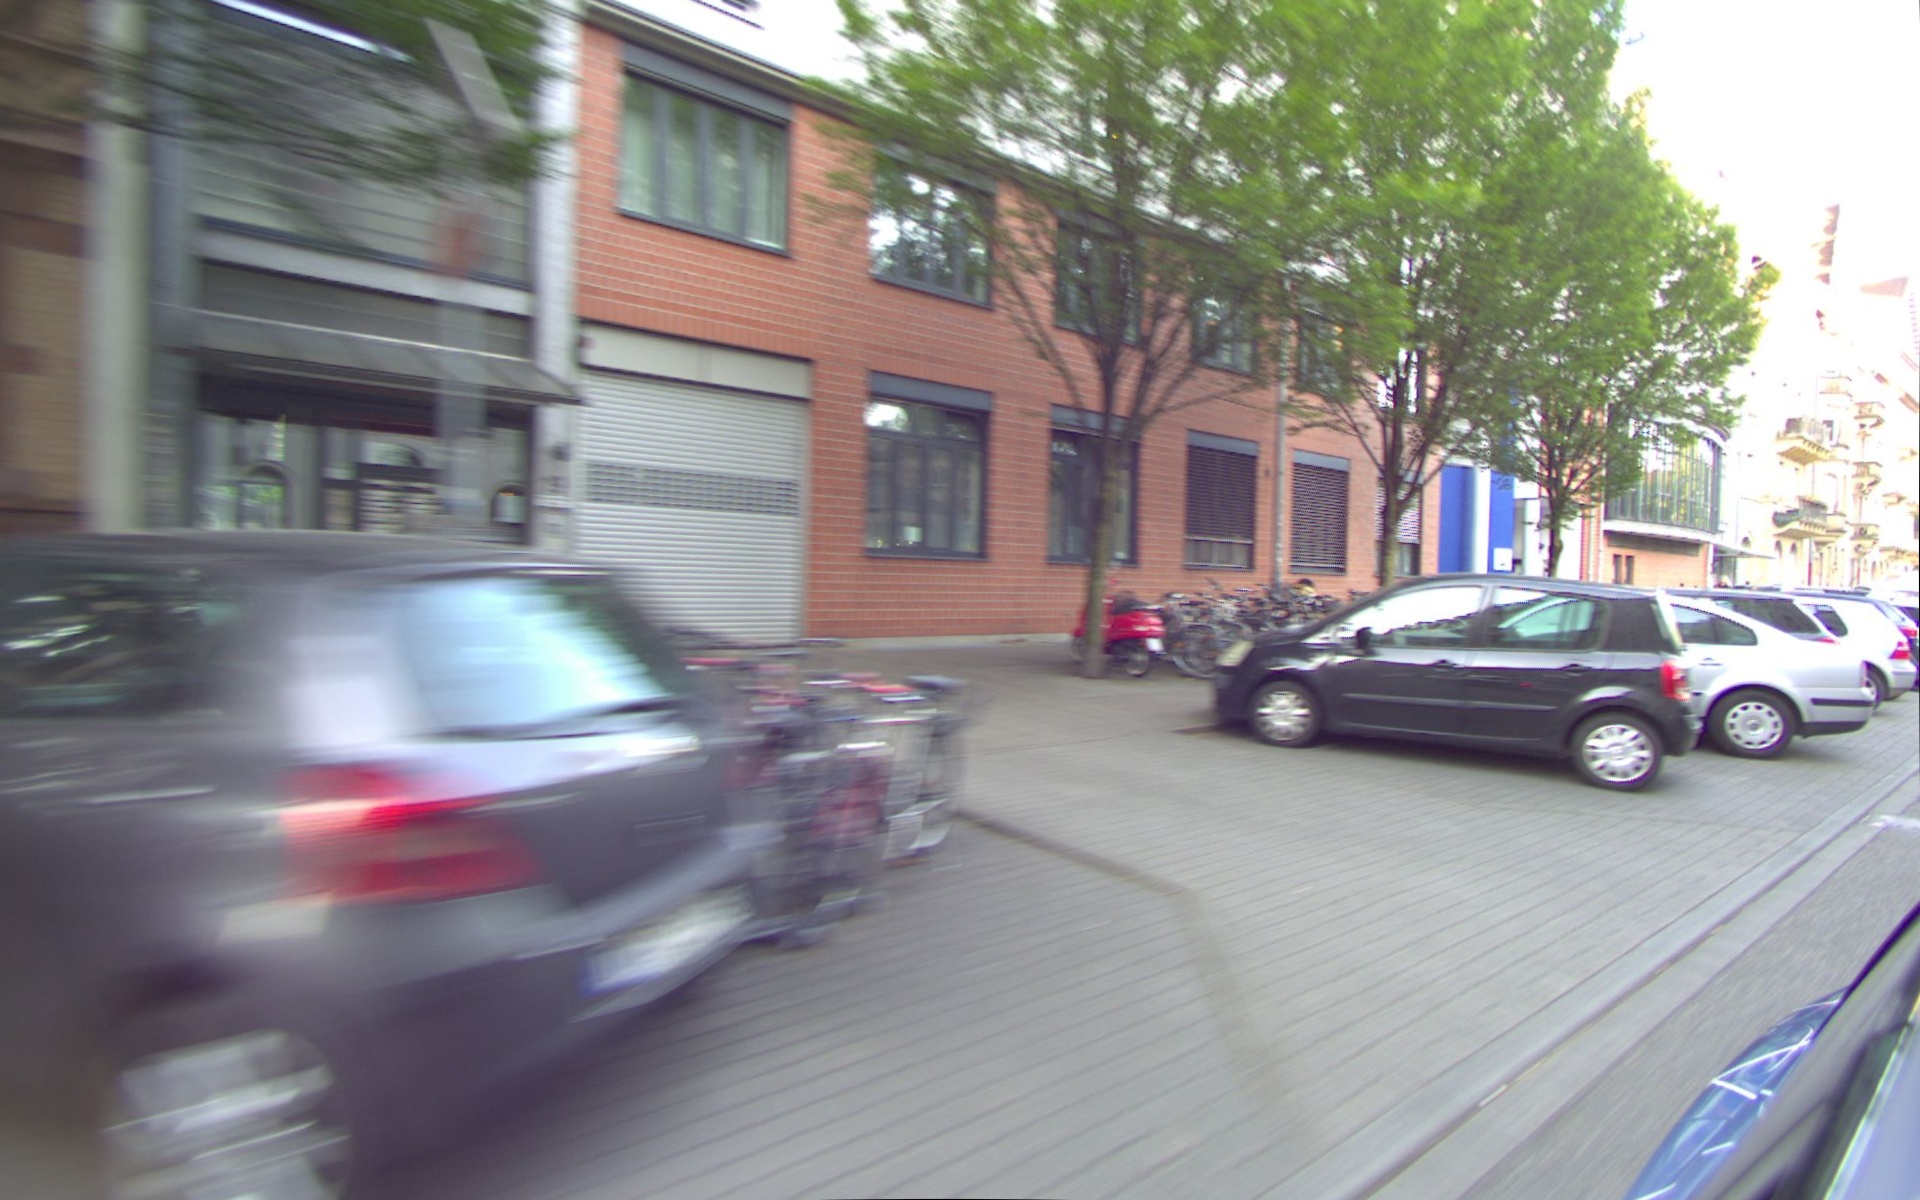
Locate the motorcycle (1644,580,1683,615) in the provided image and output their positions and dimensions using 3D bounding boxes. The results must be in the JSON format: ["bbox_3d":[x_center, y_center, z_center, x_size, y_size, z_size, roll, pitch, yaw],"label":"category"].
[{"bbox_3d":[23.857,-0.098,34.301,2.049,1.116,0.589,0,5,-43],"label":"motorcycle"}]

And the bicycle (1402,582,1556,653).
[{"bbox_3d":[9.564,0.290,18.780,0.551,1.181,2.542,0,2,-37],"label":"bicycle"}]

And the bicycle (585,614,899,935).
[{"bbox_3d":[-0.922,0.685,4.838,0.552,1.121,1.845,1,2,21],"label":"bicycle"}]

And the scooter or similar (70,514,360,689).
[{"bbox_3d":[-5.624,-0.005,7.766,1.739,1.232,0.414,0,5,-29],"label":"scooter or similar"}]

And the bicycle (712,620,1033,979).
[{"bbox_3d":[-0.270,0.709,4.480,0.686,1.121,1.845,1,2,21],"label":"bicycle"}]

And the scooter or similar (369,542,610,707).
[{"bbox_3d":[-3.812,0.174,8.267,1.739,1.232,0.470,0,5,-29],"label":"scooter or similar"}]

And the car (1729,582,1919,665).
[{"bbox_3d":[18.314,0.454,20.445,3.947,1.491,1.866,2,3,18],"label":"car"}]

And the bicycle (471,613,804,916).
[{"bbox_3d":[-1.480,0.676,5.040,0.552,1.121,1.845,1,2,21],"label":"bicycle"}]

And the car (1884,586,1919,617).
[{"bbox_3d":[51.684,0.153,53.260,4.000,1.516,1.747,4,3,15],"label":"car"}]

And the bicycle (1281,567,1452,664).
[{"bbox_3d":[6.366,0.189,16.028,0.588,1.396,2.542,0,2,-37],"label":"bicycle"}]

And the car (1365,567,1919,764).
[{"bbox_3d":[6.520,0.503,10.252,4.344,1.553,1.791,2,2,27],"label":"car"}]

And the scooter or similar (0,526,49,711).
[{"bbox_3d":[-7.203,0.105,6.752,1.668,1.232,0.371,1,4,-16],"label":"scooter or similar"}]

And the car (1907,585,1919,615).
[{"bbox_3d":[54.346,0.127,54.769,4.037,1.626,1.810,3,3,13],"label":"car"}]

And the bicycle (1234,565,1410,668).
[{"bbox_3d":[5.318,0.195,15.081,0.588,1.396,2.542,0,2,-37],"label":"bicycle"}]

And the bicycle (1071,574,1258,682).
[{"bbox_3d":[2.539,0.300,12.946,0.588,1.034,2.544,0,6,-37],"label":"bicycle"}]

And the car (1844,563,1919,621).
[{"bbox_3d":[43.603,-0.373,46.007,4.670,2.578,1.905,2,2,22],"label":"car"}]

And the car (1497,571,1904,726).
[{"bbox_3d":[8.501,0.473,12.017,3.564,1.553,1.551,2,2,23],"label":"car"}]

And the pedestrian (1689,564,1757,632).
[{"bbox_3d":[23.486,-0.057,31.161,0.842,2.020,0.614,-1,31,-38],"label":"pedestrian"}]

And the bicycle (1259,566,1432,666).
[{"bbox_3d":[5.847,0.193,15.553,0.588,1.396,2.542,0,2,-37],"label":"bicycle"}]

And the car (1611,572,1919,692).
[{"bbox_3d":[12.224,0.420,15.356,3.557,1.600,1.707,2,2,18],"label":"car"}]

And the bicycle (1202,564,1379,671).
[{"bbox_3d":[4.719,0.196,14.673,0.588,1.396,2.542,0,2,-37],"label":"bicycle"}]

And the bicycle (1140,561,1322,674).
[{"bbox_3d":[3.610,0.178,13.772,0.588,1.396,2.542,0,2,-37],"label":"bicycle"}]

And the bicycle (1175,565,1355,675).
[{"bbox_3d":[4.209,0.222,14.226,0.588,1.396,2.542,0,2,-37],"label":"bicycle"}]

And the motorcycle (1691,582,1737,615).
[{"bbox_3d":[28.055,-0.070,37.656,2.397,1.153,0.802,0,4,-41],"label":"motorcycle"}]

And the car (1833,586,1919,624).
[{"bbox_3d":[39.859,0.203,42.787,4.019,1.510,1.713,2,1,20],"label":"car"}]

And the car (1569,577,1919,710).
[{"bbox_3d":[10.375,0.492,13.512,3.565,1.500,1.709,2,2,23],"label":"car"}]

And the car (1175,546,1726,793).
[{"bbox_3d":[4.117,0.426,8.942,3.969,1.656,1.739,3,2,31],"label":"car"}]

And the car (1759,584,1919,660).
[{"bbox_3d":[20.260,0.470,22.134,3.953,1.525,1.758,2,2,22],"label":"car"}]

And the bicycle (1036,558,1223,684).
[{"bbox_3d":[2.012,0.191,12.481,0.588,1.396,2.542,0,2,-37],"label":"bicycle"}]

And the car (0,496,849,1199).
[{"bbox_3d":[-2.264,0.489,3.119,3.365,1.492,1.763,3,2,20],"label":"car"}]

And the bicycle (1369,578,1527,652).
[{"bbox_3d":[8.598,0.226,17.960,0.551,1.181,2.542,0,2,-37],"label":"bicycle"}]

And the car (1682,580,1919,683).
[{"bbox_3d":[14.747,0.503,16.947,3.950,1.556,1.625,2,1,20],"label":"car"}]

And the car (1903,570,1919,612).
[{"bbox_3d":[62.756,-0.430,62.803,5.790,2.581,2.192,3,4,10],"label":"car"}]

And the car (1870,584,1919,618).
[{"bbox_3d":[46.040,0.139,47.563,4.345,1.504,1.832,4,3,20],"label":"car"}]

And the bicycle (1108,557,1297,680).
[{"bbox_3d":[3.108,0.182,13.327,0.588,1.259,2.545,0,7,-37],"label":"bicycle"}]

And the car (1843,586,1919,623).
[{"bbox_3d":[41.811,0.206,44.279,4.307,1.521,1.899,2,2,23],"label":"car"}]
